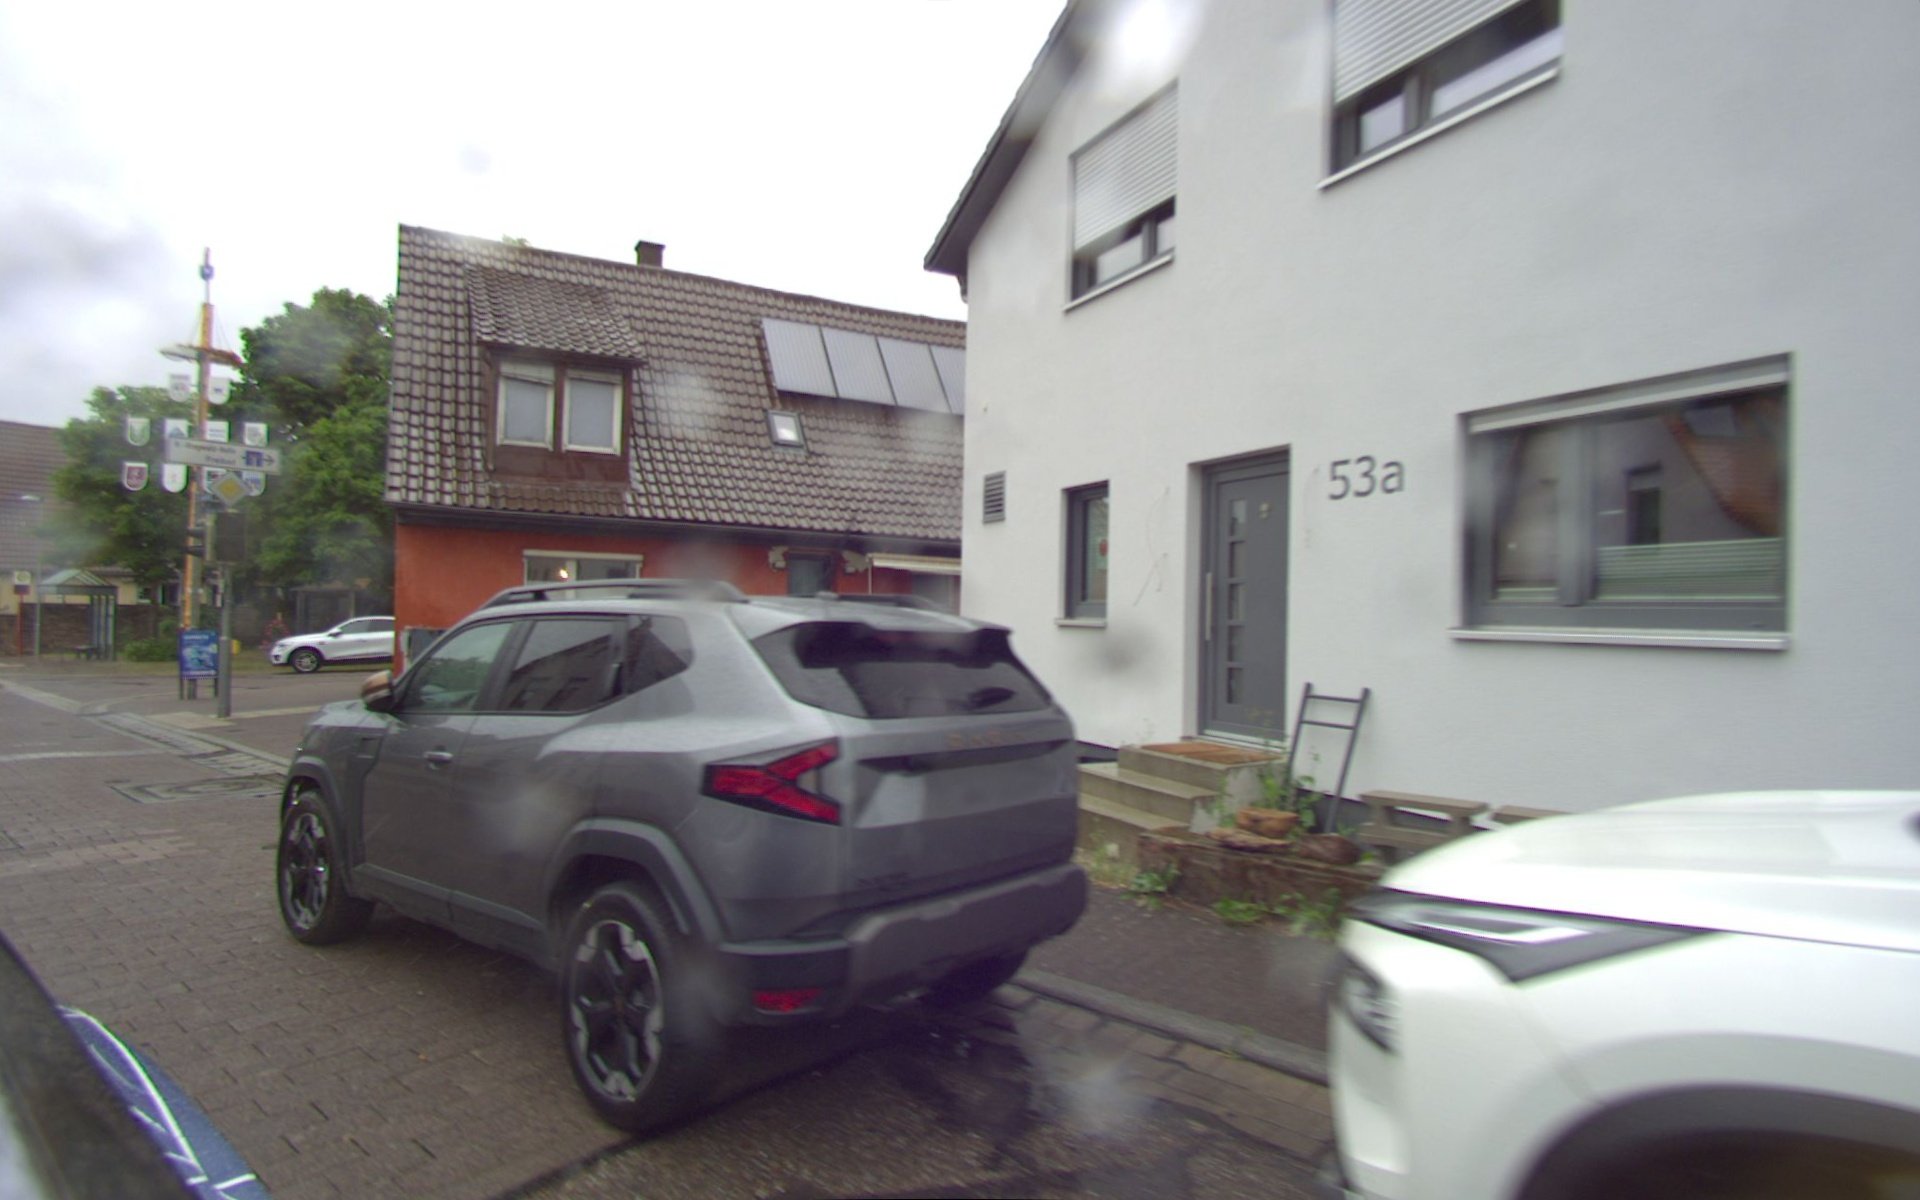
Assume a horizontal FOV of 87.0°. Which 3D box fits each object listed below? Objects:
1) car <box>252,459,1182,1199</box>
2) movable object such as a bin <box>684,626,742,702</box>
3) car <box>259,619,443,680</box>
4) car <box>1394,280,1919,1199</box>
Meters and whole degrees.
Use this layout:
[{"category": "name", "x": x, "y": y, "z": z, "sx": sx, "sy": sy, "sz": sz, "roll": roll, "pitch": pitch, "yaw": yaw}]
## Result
[{"category": "car", "x": -1.294, "y": 0.624, "z": 4.309, "sx": 4.013, "sy": 1.793, "sz": 1.794, "roll": -1, "pitch": -2, "yaw": 39}, {"category": "movable object such as a bin", "x": -3.614, "y": 0.925, "z": 14.801, "sx": 0.637, "sy": 1.064, "sz": 0.622, "roll": 2, "pitch": -2, "yaw": -32}, {"category": "car", "x": -17.384, "y": 1.365, "z": 29.126, "sx": 4.384, "sy": 1.561, "sz": 1.888, "roll": -1, "pitch": -1, "yaw": -29}, {"category": "car", "x": 2.870, "y": 0.506, "z": 0.690, "sx": 4.418, "sy": 1.649, "sz": 1.729, "roll": 0, "pitch": -3, "yaw": 42}]
